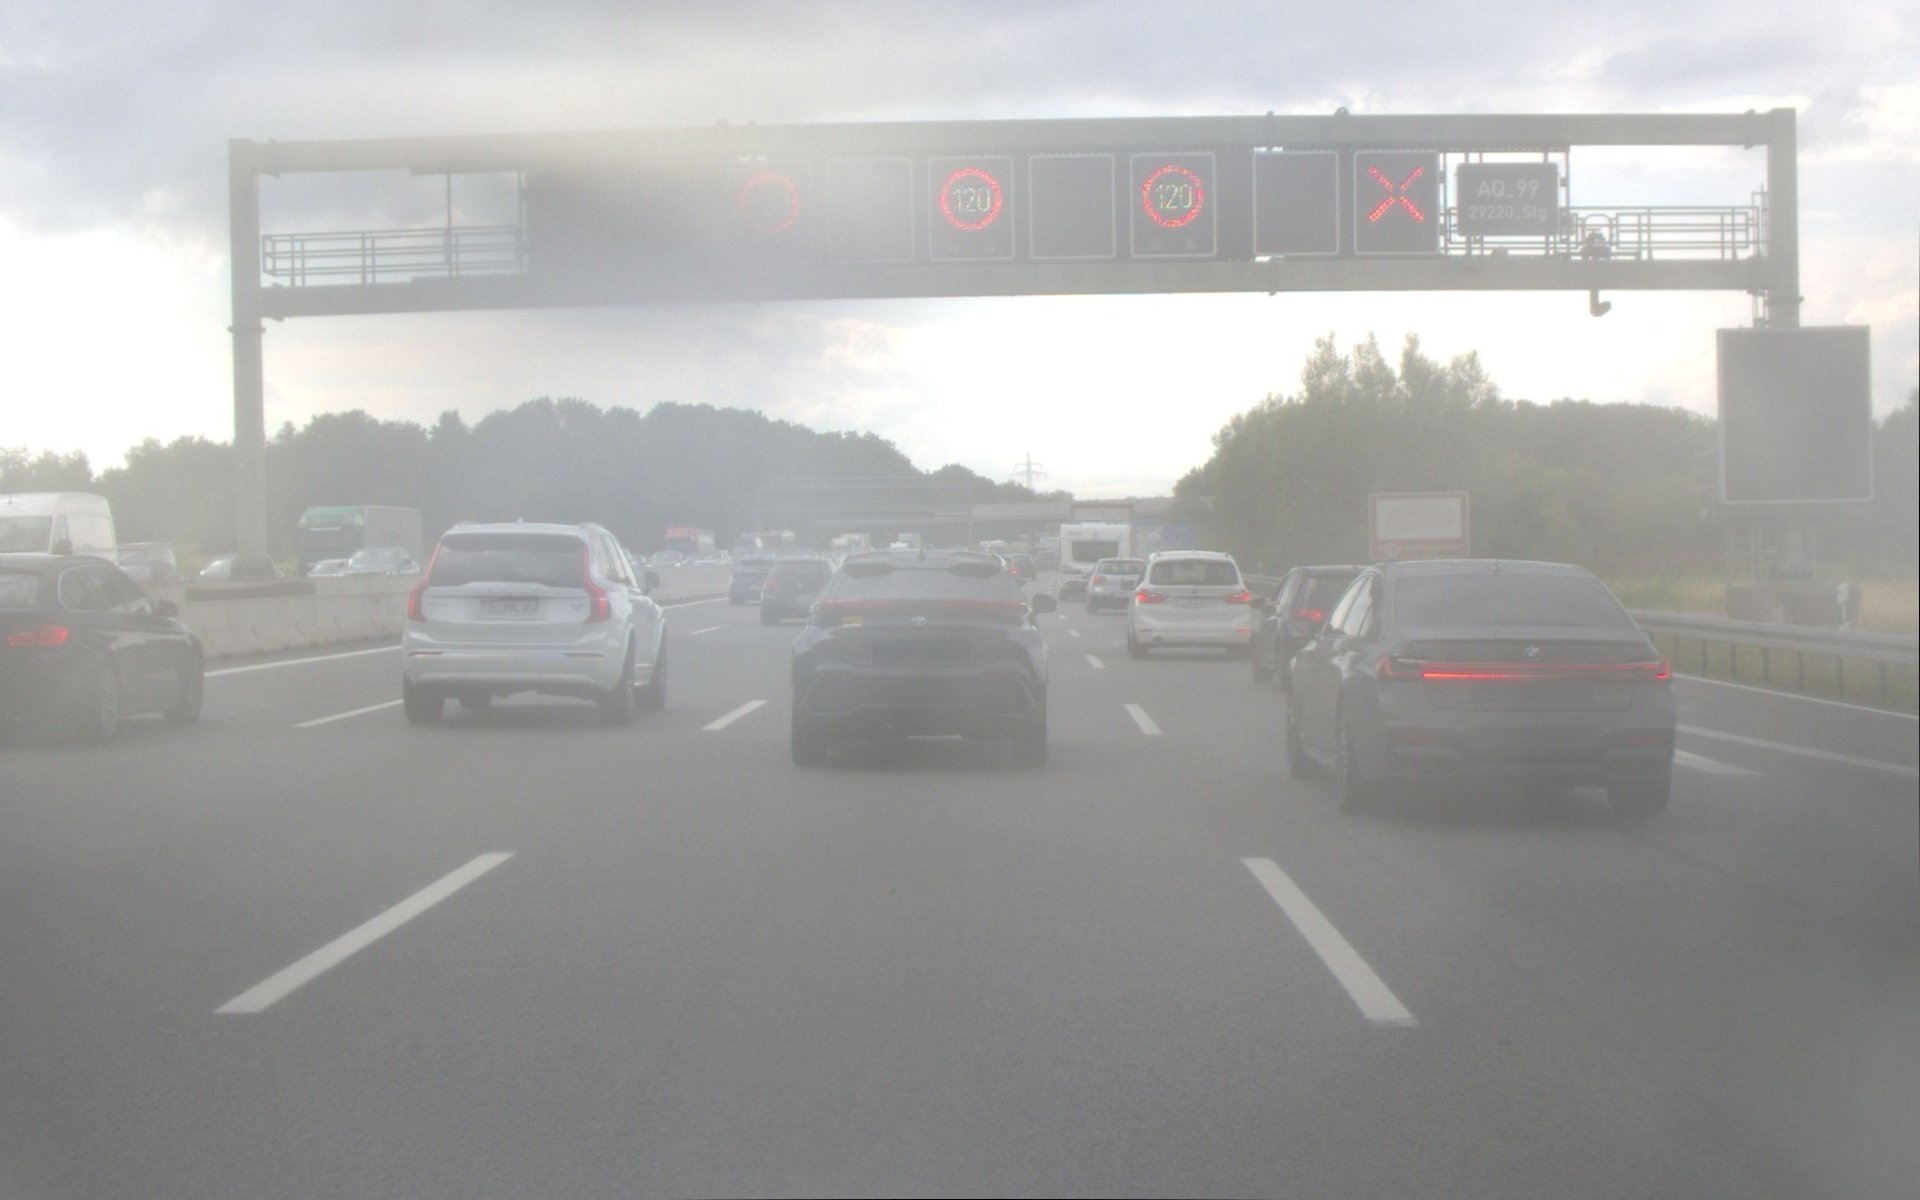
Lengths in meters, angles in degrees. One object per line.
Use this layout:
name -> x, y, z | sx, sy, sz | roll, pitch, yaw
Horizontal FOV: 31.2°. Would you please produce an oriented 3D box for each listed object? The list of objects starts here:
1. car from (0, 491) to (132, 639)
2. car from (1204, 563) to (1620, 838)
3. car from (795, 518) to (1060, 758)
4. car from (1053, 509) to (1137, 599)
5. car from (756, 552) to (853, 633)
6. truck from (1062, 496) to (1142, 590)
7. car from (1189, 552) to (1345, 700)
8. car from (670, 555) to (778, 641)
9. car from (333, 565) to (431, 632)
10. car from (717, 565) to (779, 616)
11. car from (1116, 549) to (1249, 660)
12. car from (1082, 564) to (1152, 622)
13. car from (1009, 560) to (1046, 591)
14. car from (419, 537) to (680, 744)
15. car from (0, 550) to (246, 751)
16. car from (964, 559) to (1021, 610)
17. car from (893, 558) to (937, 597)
car -> -17.134, -0.654, 63.821 | 1.993, 2.607, 6.343 | 0, 1, 0
car -> 2.637, 0.526, 21.165 | 1.939, 1.486, 4.776 | 0, 1, 0
car -> -0.317, 0.232, 25.484 | 1.780, 1.607, 4.598 | 0, 1, -2
car -> 4.501, -1.533, 115.457 | 2.567, 2.885, 7.533 | 0, 1, 1
car -> -3.323, -0.184, 74.138 | 1.881, 1.680, 4.000 | 0, 1, 0
truck -> 5.770, -2.312, 140.578 | 3.133, 3.697, 9.847 | 0, 1, 2
car -> 3.555, 0.262, 40.230 | 1.707, 1.625, 4.456 | 0, 1, 4
car -> -4.738, -0.070, 69.434 | 1.881, 1.680, 4.000 | 0, 1, 0
car -> -16.738, -0.067, 99.789 | 1.993, 1.879, 5.187 | 0, 1, 0
car -> -6.308, -0.294, 102.459 | 1.563, 1.472, 3.919 | 0, 1, 0
car -> 3.338, 0.040, 52.331 | 1.810, 1.593, 4.695 | 0, 1, 1
car -> 4.136, -0.201, 90.634 | 1.795, 1.472, 4.037 | 0, 1, 2
car -> 3.797, -1.382, 193.338 | 1.881, 1.680, 4.000 | 0, 1, -1
car -> -3.605, 0.313, 30.856 | 1.781, 1.710, 4.353 | 0, 1, 0
car -> -7.183, 0.344, 27.578 | 1.781, 1.476, 4.352 | 0, 1, 3
car -> 1.100, -0.549, 115.991 | 1.881, 1.680, 4.000 | 0, 1, 0
car -> -1.992, -1.016, 152.760 | 1.881, 1.680, 4.000 | 0, 1, 0
